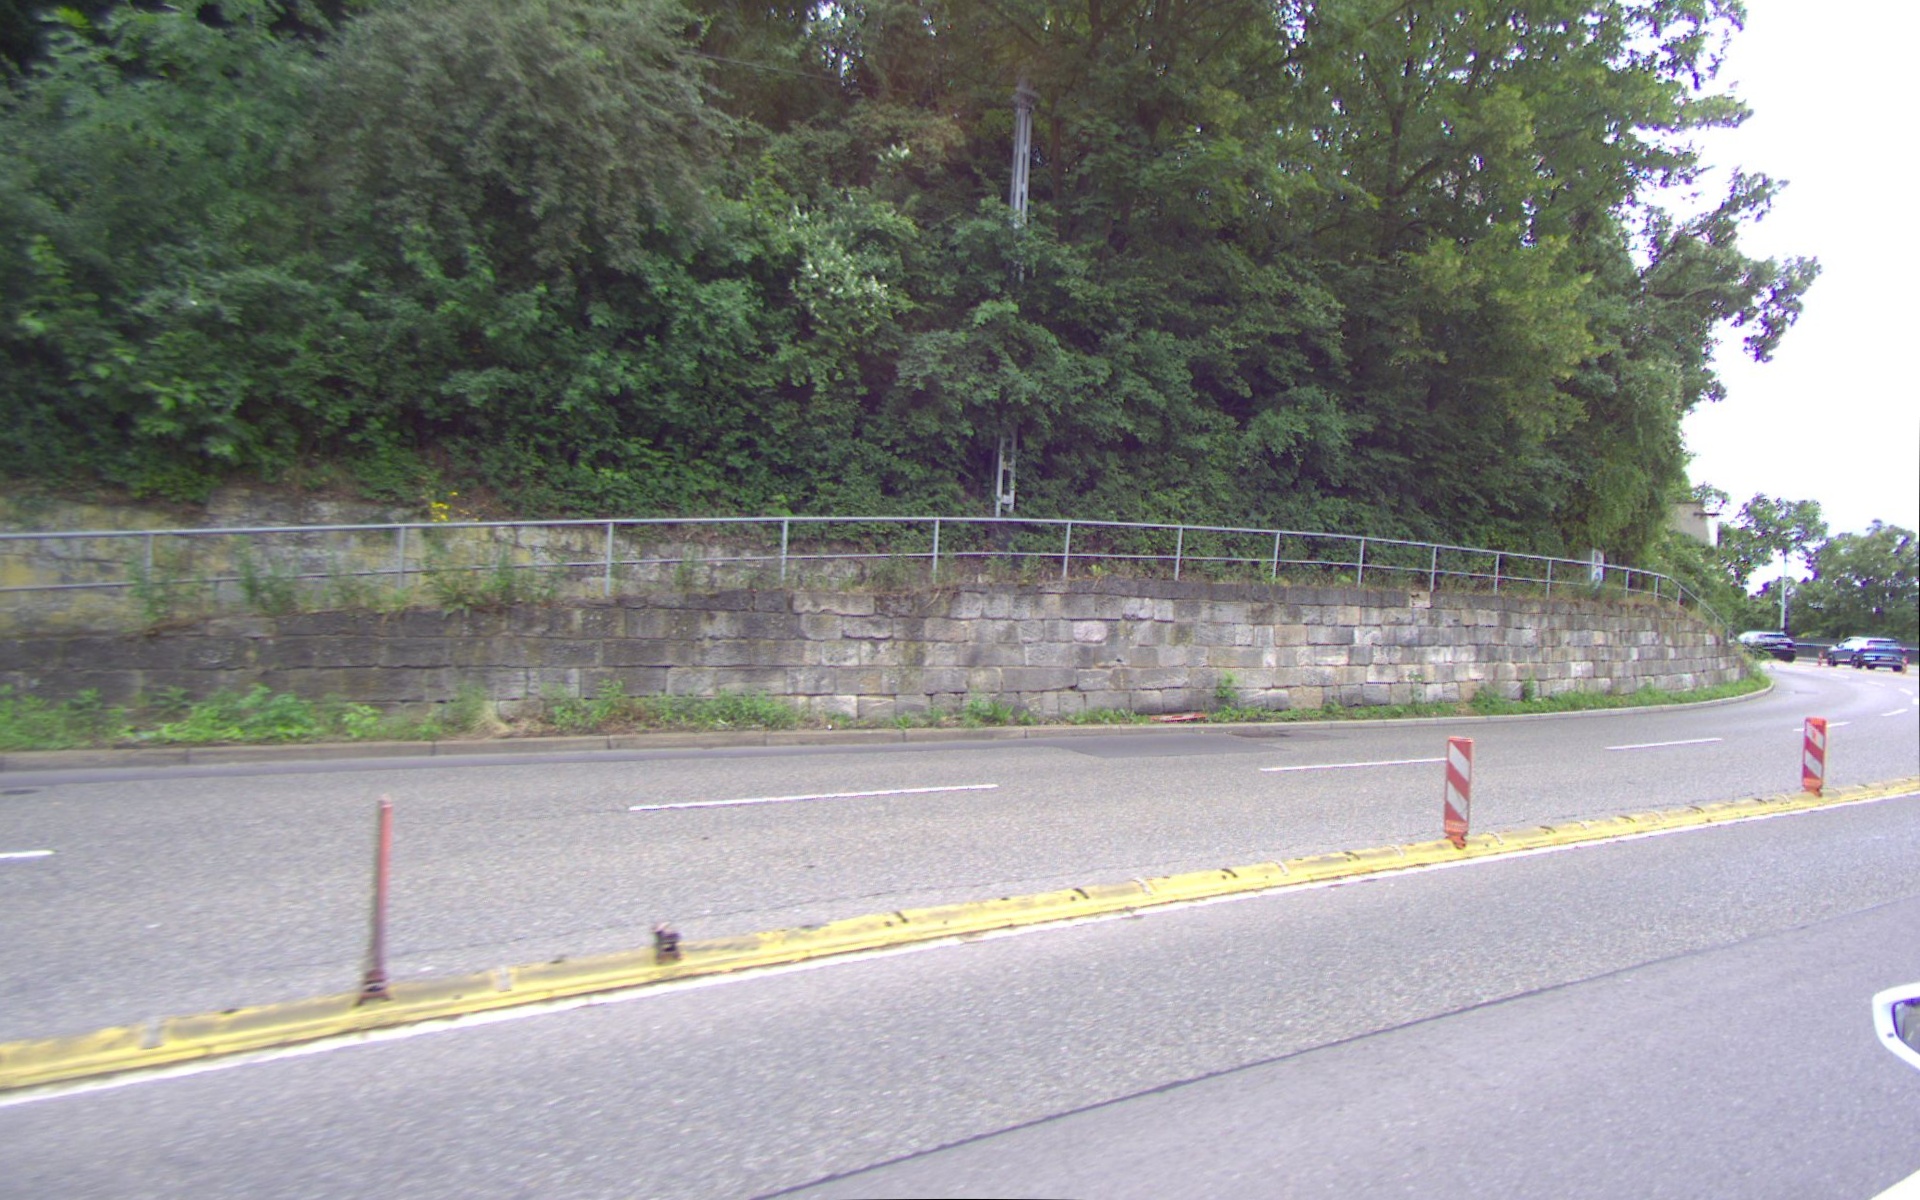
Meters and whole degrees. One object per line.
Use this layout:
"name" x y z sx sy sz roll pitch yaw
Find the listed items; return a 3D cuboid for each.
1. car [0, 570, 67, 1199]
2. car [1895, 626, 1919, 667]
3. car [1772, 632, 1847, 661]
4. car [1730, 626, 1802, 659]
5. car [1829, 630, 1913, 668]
"car" -3.622 0.600 0.213 4.827 1.486 1.837 4 1 -33
"car" 41.620 2.038 42.407 1.963 1.762 3.996 4 1 27
"car" 52.985 2.871 62.727 1.666 1.545 3.537 4 1 3
"car" 47.181 2.450 58.898 1.785 1.712 4.001 4 1 17
"car" 44.026 2.321 48.642 1.963 1.561 4.005 4 1 28
